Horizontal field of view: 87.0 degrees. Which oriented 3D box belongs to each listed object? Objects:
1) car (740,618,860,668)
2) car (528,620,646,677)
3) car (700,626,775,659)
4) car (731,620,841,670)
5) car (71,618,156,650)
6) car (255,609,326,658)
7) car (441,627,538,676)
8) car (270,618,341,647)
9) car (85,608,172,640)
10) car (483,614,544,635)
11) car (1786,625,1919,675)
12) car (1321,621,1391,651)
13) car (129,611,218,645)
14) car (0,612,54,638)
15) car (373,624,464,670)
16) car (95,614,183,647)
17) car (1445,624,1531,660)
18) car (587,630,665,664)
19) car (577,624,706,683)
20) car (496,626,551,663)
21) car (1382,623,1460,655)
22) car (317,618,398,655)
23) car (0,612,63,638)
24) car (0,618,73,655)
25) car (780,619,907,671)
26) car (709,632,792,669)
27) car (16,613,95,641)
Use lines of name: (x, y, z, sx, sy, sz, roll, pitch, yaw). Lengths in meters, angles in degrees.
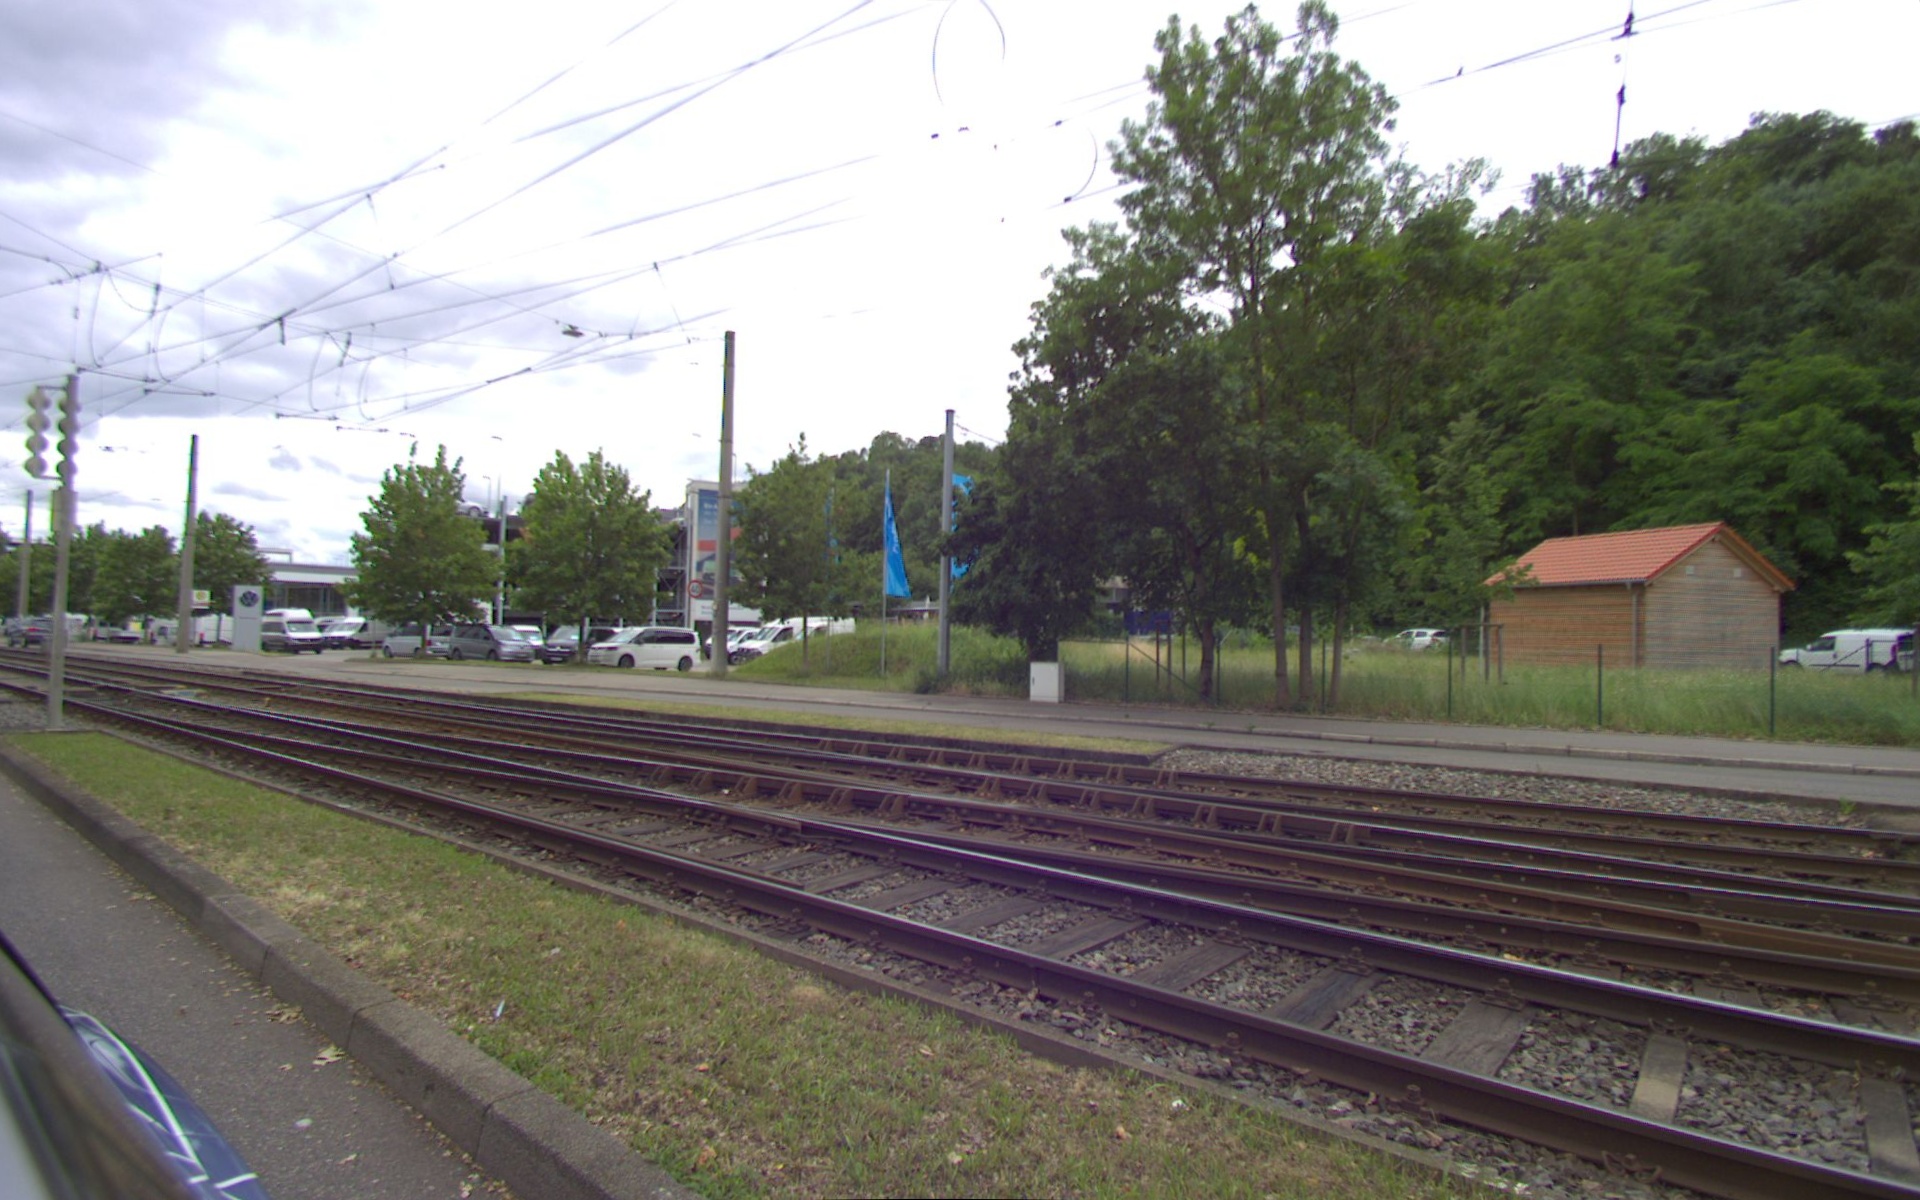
car: (-8.230, 2.155, 52.142, 5.751, 2.284, 2.060, -1, 0, -28)
car: (-16.912, 2.140, 46.049, 1.977, 2.284, 4.716, 0, 0, 37)
car: (-13.886, 2.609, 63.246, 4.164, 1.850, 1.986, -1, 0, -31)
car: (-9.505, 2.402, 55.345, 5.568, 2.479, 1.986, -1, 0, -31)
car: (-64.618, 2.549, 77.357, 2.102, 2.225, 4.589, 0, 0, 32)
car: (-44.072, 2.155, 66.550, 6.154, 3.034, 2.290, 0, 0, 40)
car: (-22.707, 2.438, 48.793, 4.763, 2.132, 2.118, 0, 0, 34)
car: (-54.493, 2.679, 84.303, 2.107, 2.225, 4.578, 0, 0, 40)
car: (-62.342, 1.768, 75.944, 2.102, 2.225, 4.589, 0, 0, 32)
car: (-42.598, 2.311, 96.514, 5.138, 1.850, 1.986, -1, 0, -29)
car: (33.193, 1.806, 37.379, 1.877, 1.625, 3.693, -1, 0, -22)
car: (23.564, 2.124, 60.344, 1.727, 1.625, 3.693, -1, 0, -25)
car: (-55.848, 1.948, 71.966, 2.102, 2.225, 4.589, 0, 0, 32)
car: (-86.425, 2.272, 92.812, 2.102, 2.225, 4.589, 0, 0, 32)
car: (-27.993, 2.381, 52.283, 4.761, 2.132, 2.119, 0, 0, 33)
car: (-60.367, 2.209, 74.490, 2.102, 2.225, 4.589, 0, 0, 32)
car: (27.242, 2.135, 52.304, 1.727, 1.625, 3.693, -1, 0, -22)
car: (-20.337, 2.818, 61.670, 4.164, 1.850, 1.986, -1, 0, -31)
car: (-13.803, 2.253, 44.144, 1.997, 2.284, 5.206, 0, 0, 37)
car: (-25.435, 2.535, 58.883, 1.872, 1.907, 4.606, -1, 0, -38)
car: (25.561, 2.128, 56.265, 1.727, 1.625, 3.693, -1, 0, -25)
car: (-47.324, 2.845, 79.674, 2.293, 2.642, 6.036, -1, 0, 6)
car: (-84.407, 2.260, 91.430, 2.102, 2.225, 4.589, 0, 0, 32)
car: (-49.772, 1.948, 54.518, 4.127, 1.731, 1.884, 1, -6, 35)
car: (-5.649, 2.146, 49.360, 5.762, 2.284, 2.060, -1, 0, -28)
car: (-11.842, 2.817, 57.277, 4.164, 1.850, 1.986, -1, 0, -31)
car: (-76.350, 2.218, 85.495, 2.102, 2.225, 4.589, 0, 0, 32)
